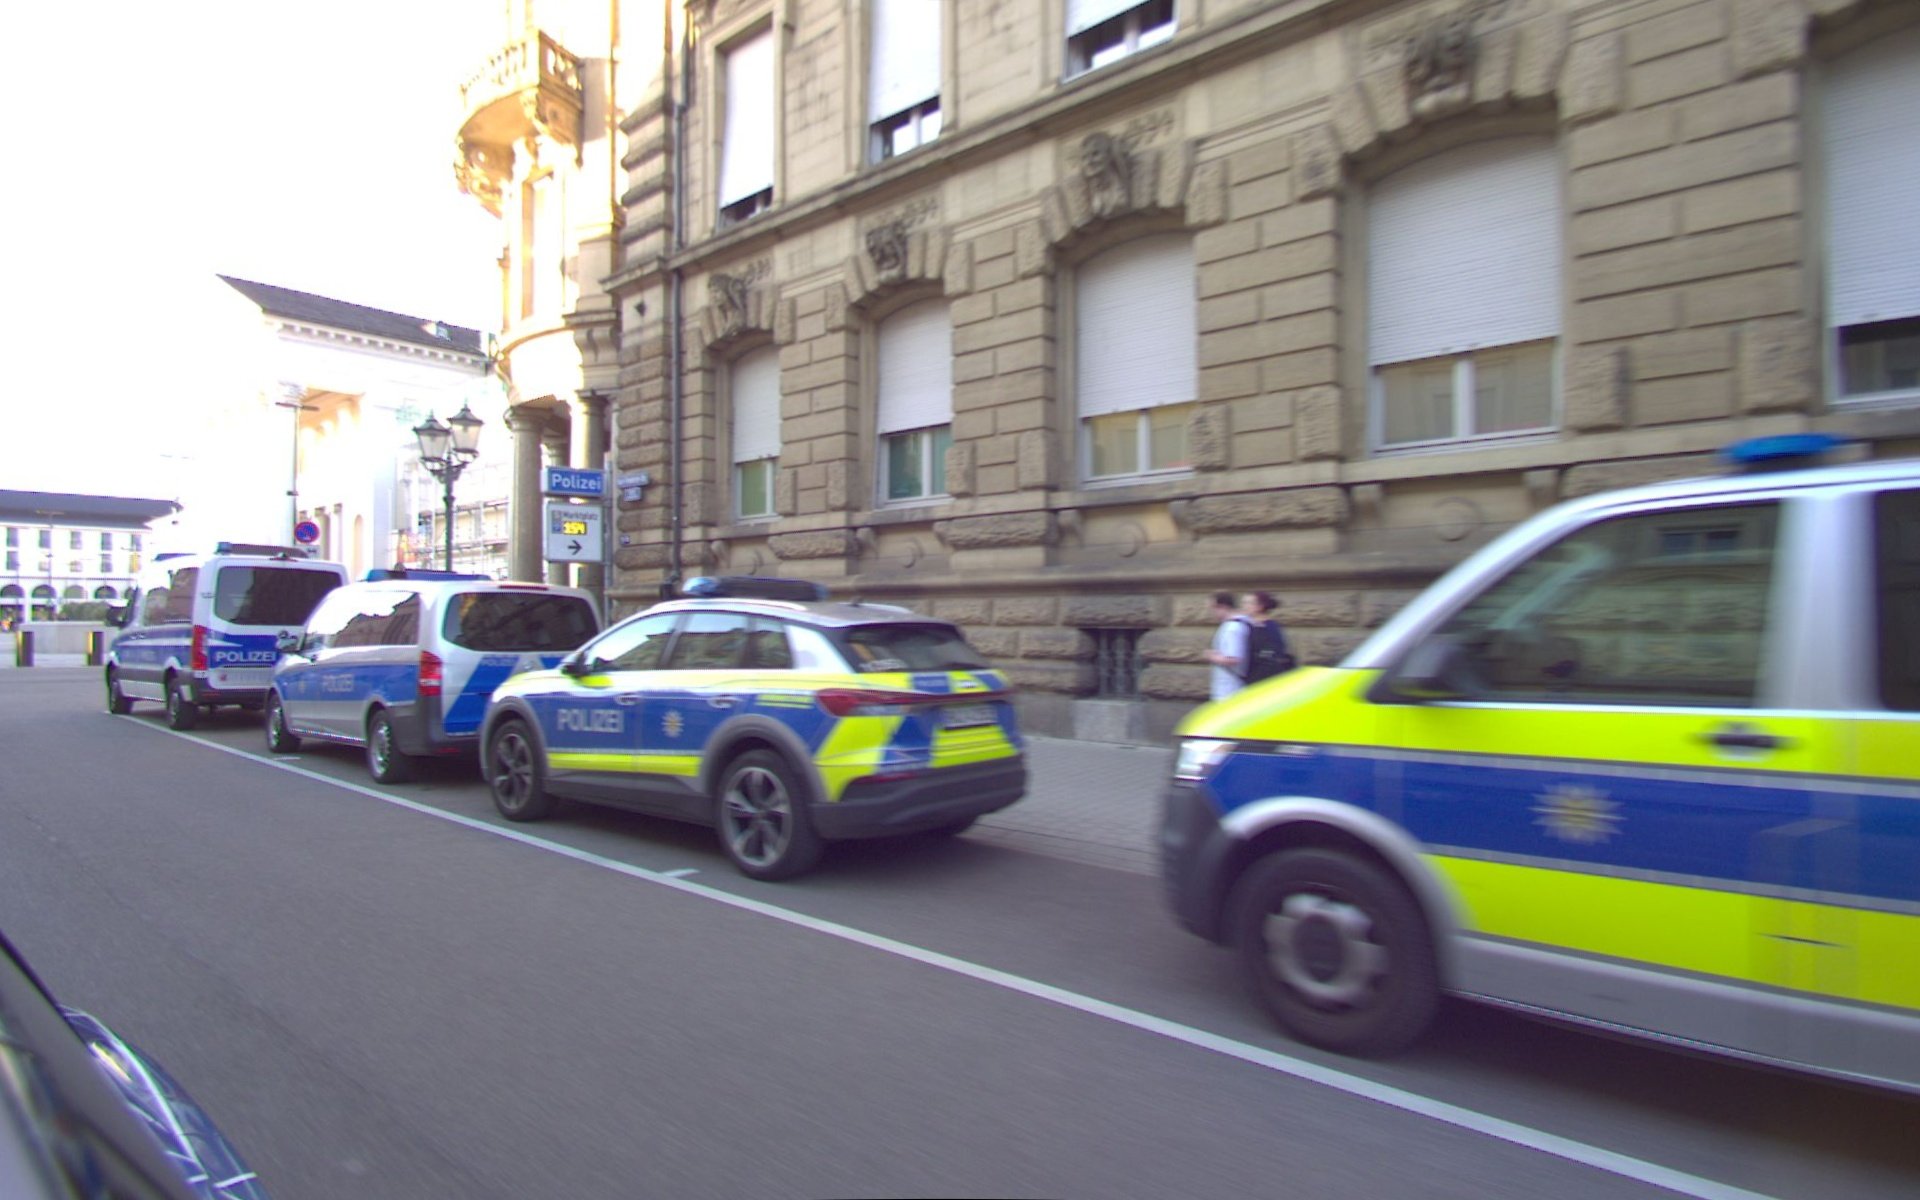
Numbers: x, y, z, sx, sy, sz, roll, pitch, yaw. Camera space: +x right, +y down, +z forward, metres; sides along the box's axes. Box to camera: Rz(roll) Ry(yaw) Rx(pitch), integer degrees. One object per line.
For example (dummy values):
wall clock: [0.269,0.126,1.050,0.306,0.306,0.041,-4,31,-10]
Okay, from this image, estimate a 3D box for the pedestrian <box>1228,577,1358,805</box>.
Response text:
pedestrian: [2.710,0.705,8.248,0.830,1.743,0.576,-1,-2,42]

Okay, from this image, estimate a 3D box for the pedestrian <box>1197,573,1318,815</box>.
pedestrian: [2.283,0.688,7.774,0.708,1.743,0.553,-1,-2,42]

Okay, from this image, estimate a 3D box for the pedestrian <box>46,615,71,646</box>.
pedestrian: [-57.040,1.910,64.038,0.881,1.926,1.077,-2,-2,44]

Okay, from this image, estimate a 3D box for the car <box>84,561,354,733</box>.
car: [-11.296,0.651,15.279,5.200,2.188,1.974,-1,-1,38]

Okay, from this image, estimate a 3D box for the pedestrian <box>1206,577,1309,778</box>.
pedestrian: [2.720,0.681,9.246,0.702,1.743,0.601,-1,-2,42]

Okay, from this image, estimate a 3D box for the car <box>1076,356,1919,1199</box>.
car: [2.992,0.477,3.128,4.986,2.093,1.973,-1,-2,40]

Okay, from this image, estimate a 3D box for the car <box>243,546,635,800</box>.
car: [-5.785,0.654,10.878,5.205,2.103,1.972,-1,-2,41]

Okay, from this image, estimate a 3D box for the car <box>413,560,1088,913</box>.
car: [-1.735,0.723,7.350,4.980,1.765,1.976,-1,-2,36]
